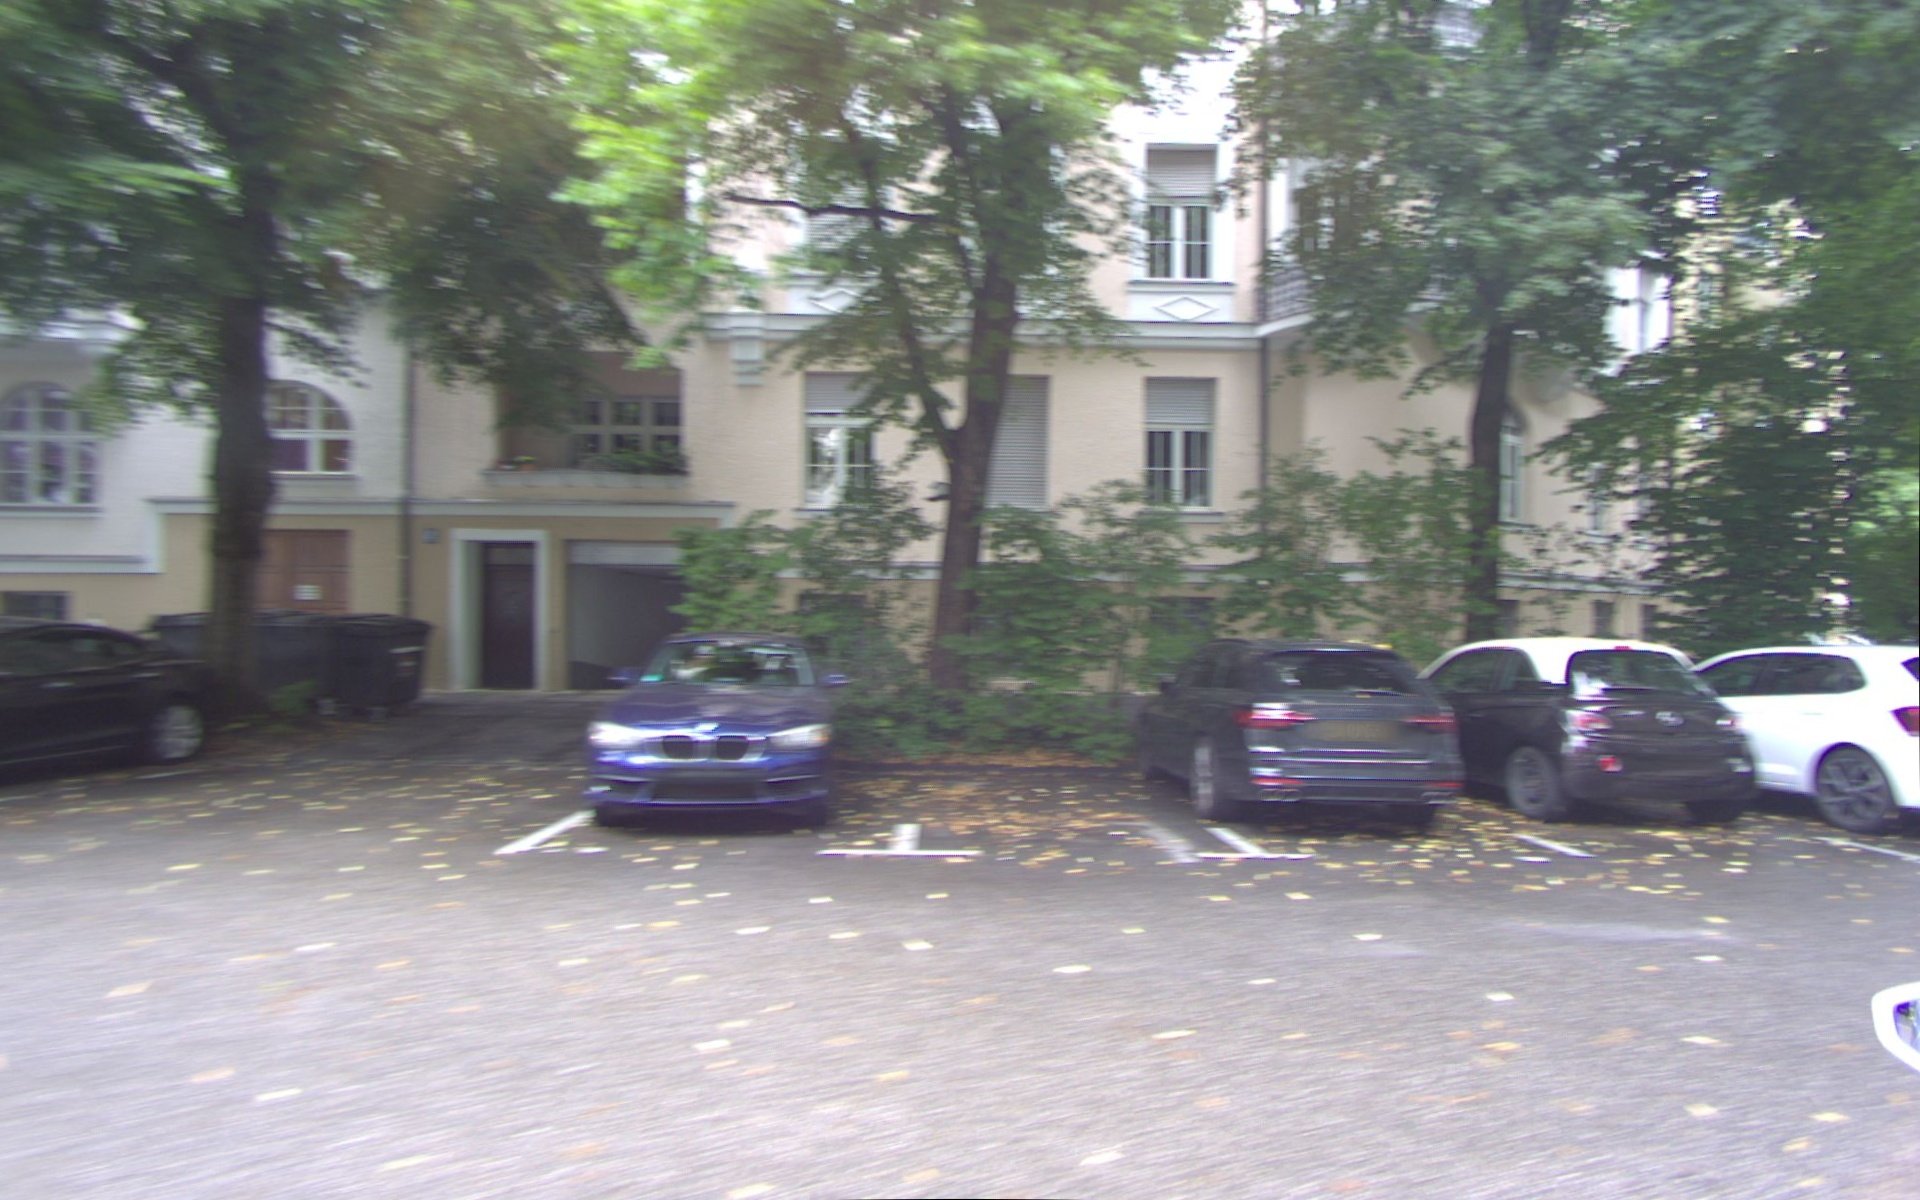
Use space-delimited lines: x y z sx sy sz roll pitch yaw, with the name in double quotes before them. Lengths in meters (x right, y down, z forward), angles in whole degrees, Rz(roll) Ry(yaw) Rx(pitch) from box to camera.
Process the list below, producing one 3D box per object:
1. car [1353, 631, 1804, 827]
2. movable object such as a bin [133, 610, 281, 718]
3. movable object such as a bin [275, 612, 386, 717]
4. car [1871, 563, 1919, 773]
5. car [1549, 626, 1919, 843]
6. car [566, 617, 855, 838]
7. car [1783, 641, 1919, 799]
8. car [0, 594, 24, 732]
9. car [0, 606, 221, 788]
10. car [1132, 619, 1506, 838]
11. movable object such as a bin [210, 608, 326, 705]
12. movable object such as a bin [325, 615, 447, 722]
"car" 5.329 1.110 9.349 1.797 1.443 3.751 1 -5 -1
"movable object such as a bin" -10.152 0.837 13.603 1.132 1.366 1.155 2 0 -5
"movable object such as a bin" -8.675 0.858 13.905 0.701 1.366 1.373 1 0 -3
"car" 11.975 0.665 9.273 2.025 2.384 5.497 1 -3 -1
"car" 7.603 1.129 9.166 1.768 1.532 4.287 1 -5 -2
"car" -1.858 0.890 8.656 1.810 1.401 4.338 1 -2 -7
"car" 9.639 1.104 8.988 1.612 1.451 3.554 1 -2 -1
"car" -11.439 0.665 9.480 1.811 1.550 4.019 1 -1 -8
"car" -8.652 0.774 8.443 1.676 1.486 4.289 2 -3 -1
"car" 2.753 0.980 8.804 1.827 1.444 4.165 0 -3 1
"movable object such as a bin" -10.220 0.812 14.872 1.100 1.366 0.863 2 0 -5
"movable object such as a bin" -7.719 0.889 13.583 0.849 1.322 1.431 3 -1 -5
